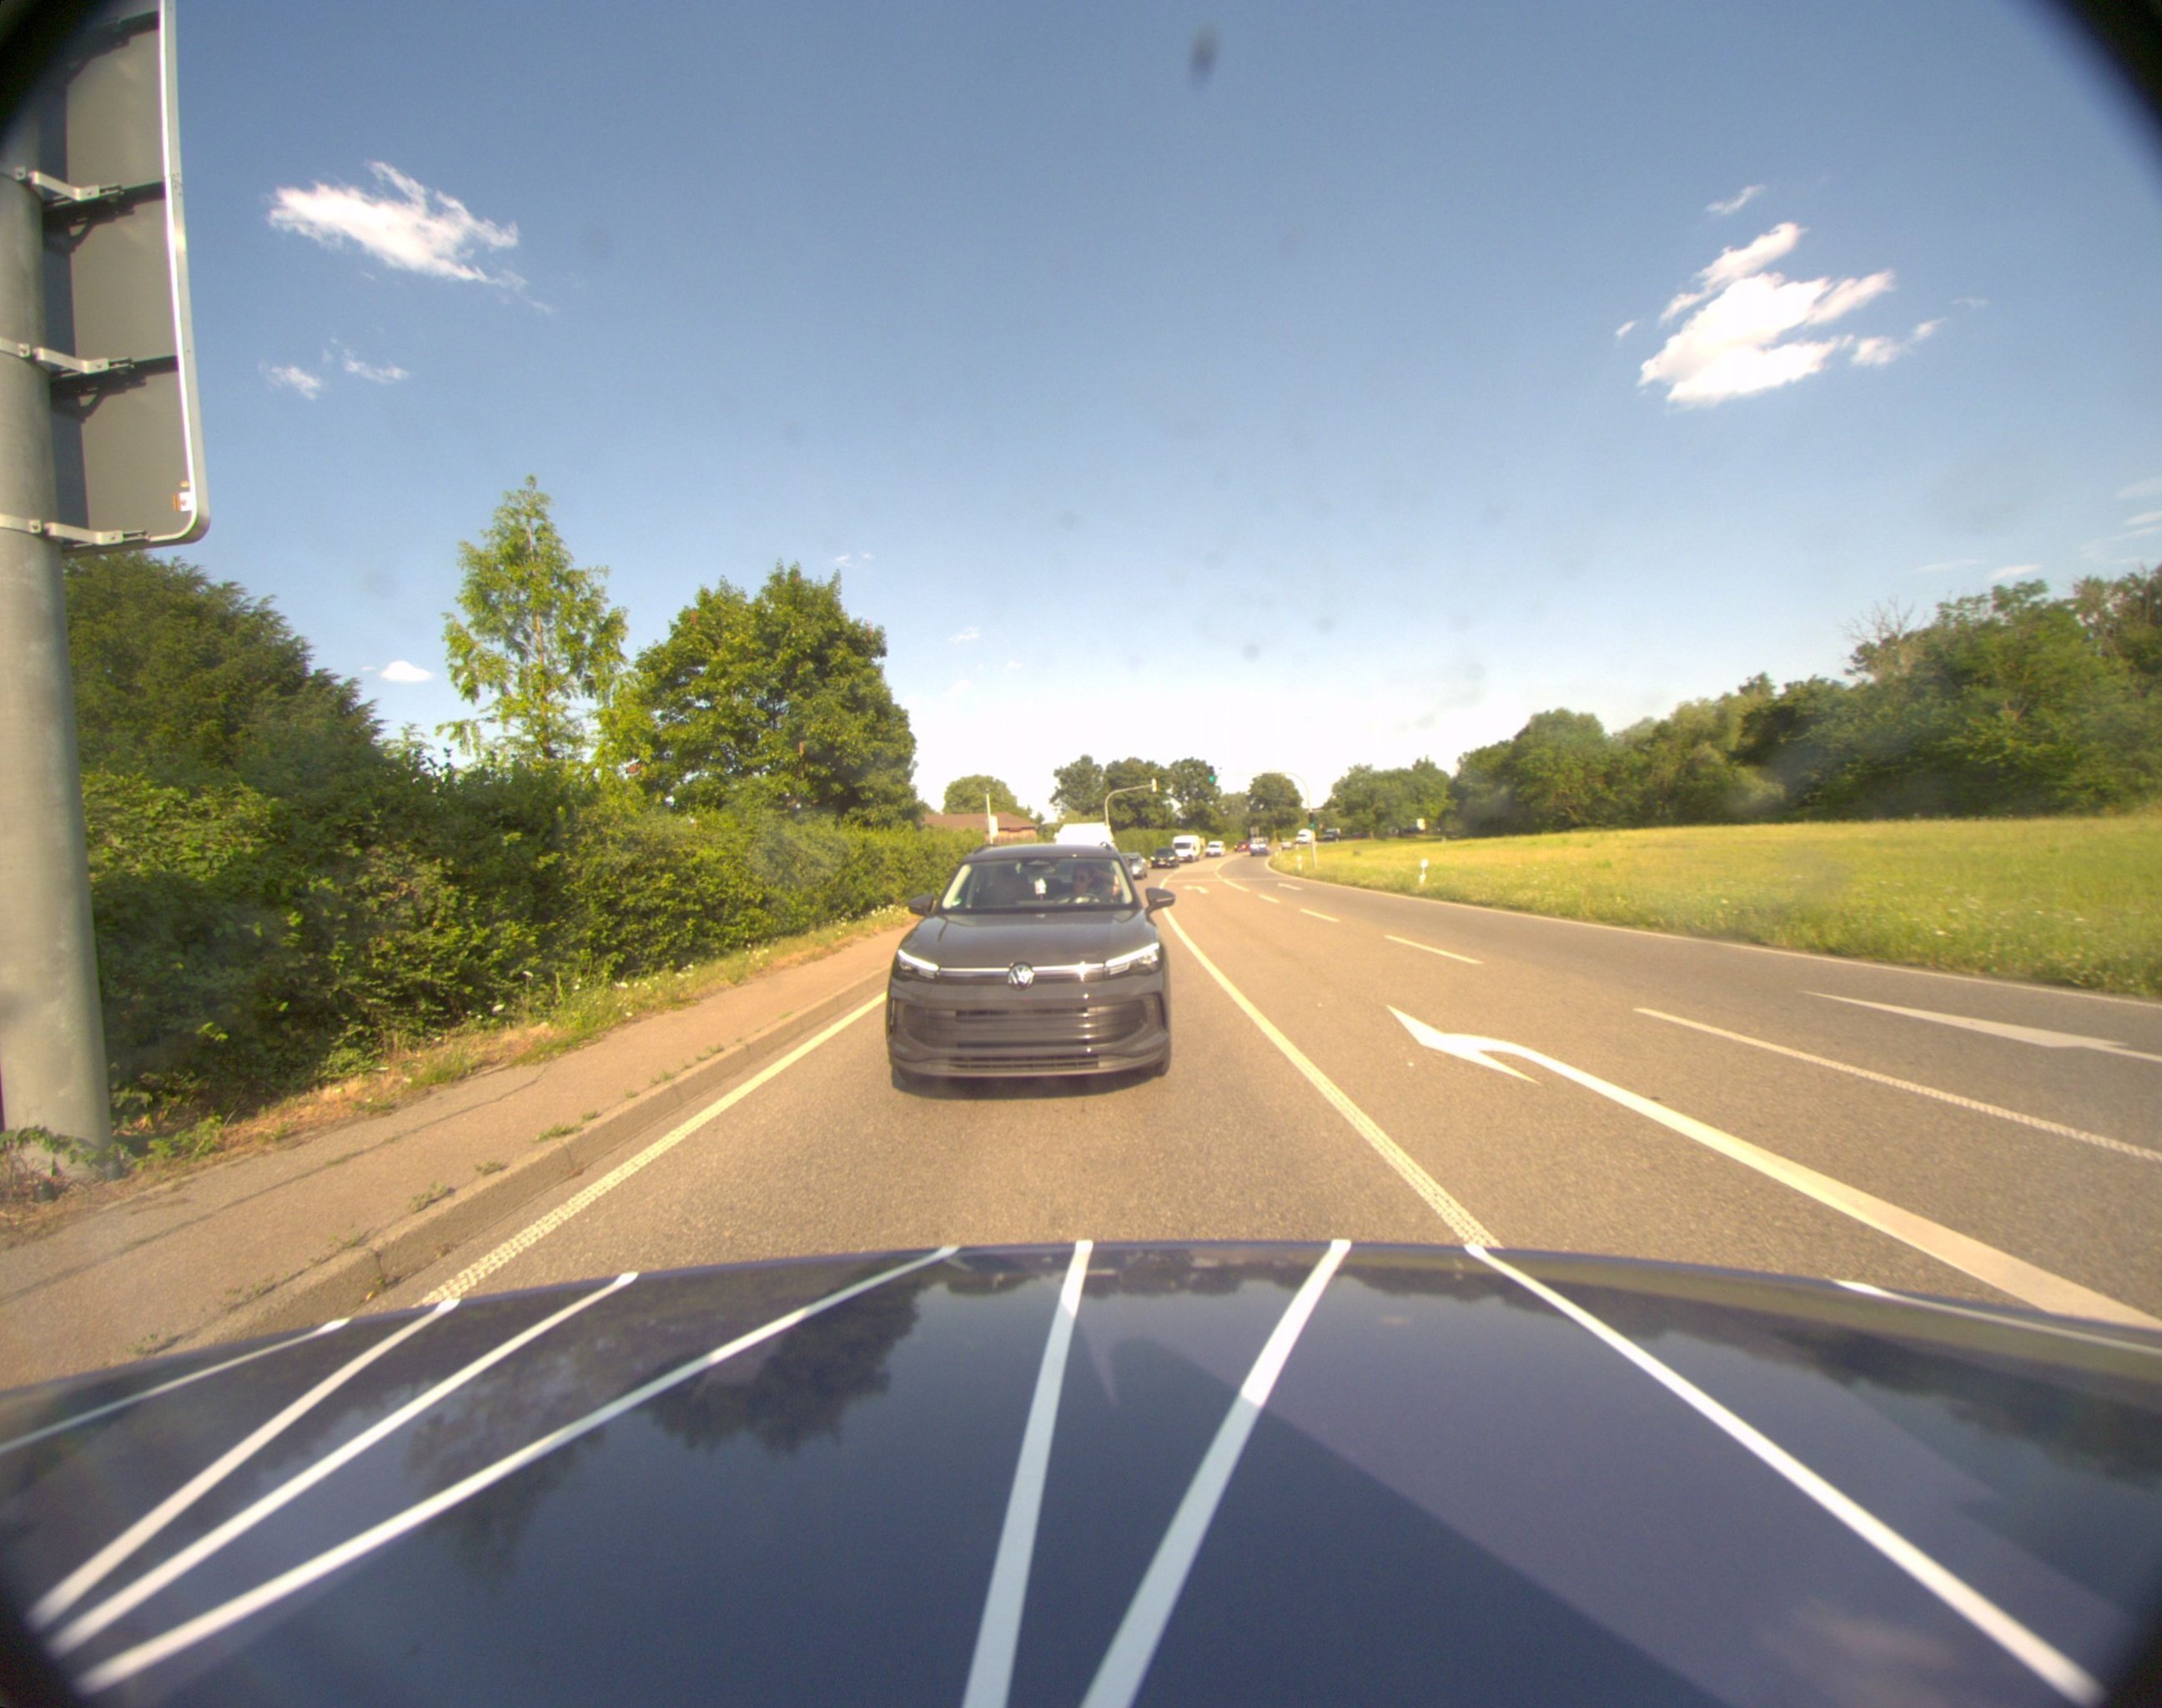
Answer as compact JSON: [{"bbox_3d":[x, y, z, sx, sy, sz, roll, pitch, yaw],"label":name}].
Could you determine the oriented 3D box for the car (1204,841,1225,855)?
[{"bbox_3d":[15.827,-0.781,90.048,1.671,1.471,3.498,-4,0,21],"label":"car"}]

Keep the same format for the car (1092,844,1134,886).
[{"bbox_3d":[1.510,0.467,34.336,1.673,1.718,3.668,0,2,6],"label":"car"}]

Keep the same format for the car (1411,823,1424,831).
[{"bbox_3d":[86.066,-6.838,194.325,4.344,1.871,1.725,-1,1,-45],"label":"car"}]

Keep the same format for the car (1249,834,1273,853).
[{"bbox_3d":[21.167,-1.286,89.404,2.000,2.124,4.786,-2,0,22],"label":"car"}]

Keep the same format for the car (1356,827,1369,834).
[{"bbox_3d":[67.712,-5.680,182.559,1.654,1.595,3.876,-4,1,38],"label":"car"}]

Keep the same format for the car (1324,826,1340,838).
[{"bbox_3d":[55.339,-4.912,167.297,1.995,2.373,4.944,-4,1,32],"label":"car"}]

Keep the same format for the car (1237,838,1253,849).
[{"bbox_3d":[24.528,-1.555,113.837,1.671,1.471,3.499,-4,0,23],"label":"car"}]

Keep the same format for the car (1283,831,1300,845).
[{"bbox_3d":[32.443,-2.533,117.289,1.783,2.002,3.850,-4,1,25],"label":"car"}]

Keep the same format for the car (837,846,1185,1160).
[{"bbox_3d":[-0.352,0.804,6.157,1.865,1.633,4.000,-1,2,1],"label":"car"}]

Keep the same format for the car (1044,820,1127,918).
[{"bbox_3d":[0.257,0.363,20.698,1.844,2.338,4.791,-1,0,5],"label":"car"}]

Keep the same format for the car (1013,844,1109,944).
[{"bbox_3d":[-0.285,0.686,15.202,1.659,1.720,3.804,-1,1,2],"label":"car"}]

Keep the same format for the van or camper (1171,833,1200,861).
[{"bbox_3d":[10.148,-0.704,73.307,2.032,2.461,5.082,-4,0,15],"label":"van or camper"}]

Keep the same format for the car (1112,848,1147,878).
[{"bbox_3d":[2.703,0.471,41.609,1.634,1.549,3.419,-1,0,8],"label":"car"}]

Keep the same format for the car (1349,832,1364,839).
[{"bbox_3d":[60.938,-4.167,168.103,1.586,1.458,3.614,-1,1,45],"label":"car"}]

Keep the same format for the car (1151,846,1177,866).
[{"bbox_3d":[6.532,0.150,59.215,1.605,1.471,3.619,0,1,13],"label":"car"}]
